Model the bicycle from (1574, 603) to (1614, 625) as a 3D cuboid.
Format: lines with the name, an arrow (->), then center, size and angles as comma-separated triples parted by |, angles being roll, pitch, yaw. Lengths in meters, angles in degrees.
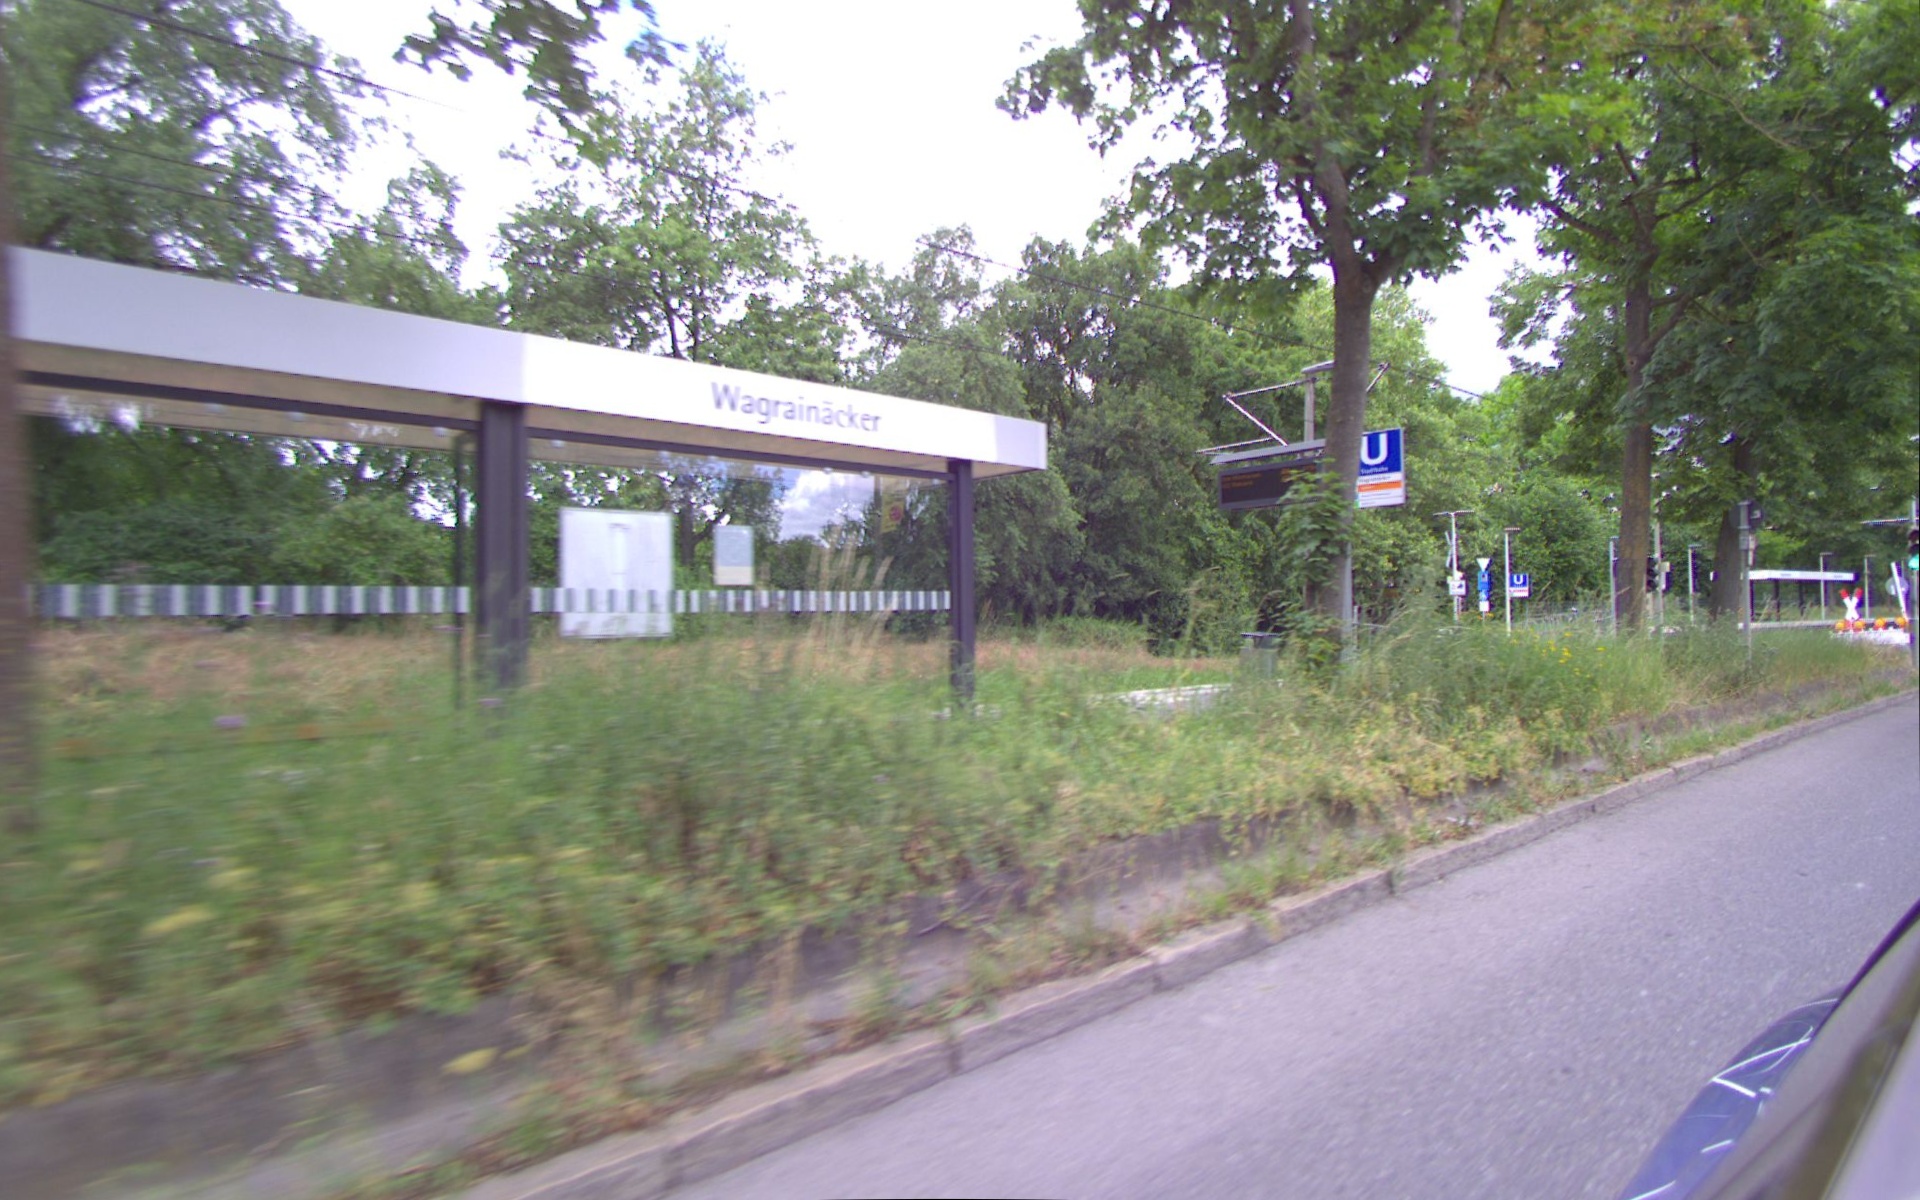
bicycle -> 30.138, 0.654, 48.112 | 0.442, 0.986, 1.512 | 1, -3, -36
